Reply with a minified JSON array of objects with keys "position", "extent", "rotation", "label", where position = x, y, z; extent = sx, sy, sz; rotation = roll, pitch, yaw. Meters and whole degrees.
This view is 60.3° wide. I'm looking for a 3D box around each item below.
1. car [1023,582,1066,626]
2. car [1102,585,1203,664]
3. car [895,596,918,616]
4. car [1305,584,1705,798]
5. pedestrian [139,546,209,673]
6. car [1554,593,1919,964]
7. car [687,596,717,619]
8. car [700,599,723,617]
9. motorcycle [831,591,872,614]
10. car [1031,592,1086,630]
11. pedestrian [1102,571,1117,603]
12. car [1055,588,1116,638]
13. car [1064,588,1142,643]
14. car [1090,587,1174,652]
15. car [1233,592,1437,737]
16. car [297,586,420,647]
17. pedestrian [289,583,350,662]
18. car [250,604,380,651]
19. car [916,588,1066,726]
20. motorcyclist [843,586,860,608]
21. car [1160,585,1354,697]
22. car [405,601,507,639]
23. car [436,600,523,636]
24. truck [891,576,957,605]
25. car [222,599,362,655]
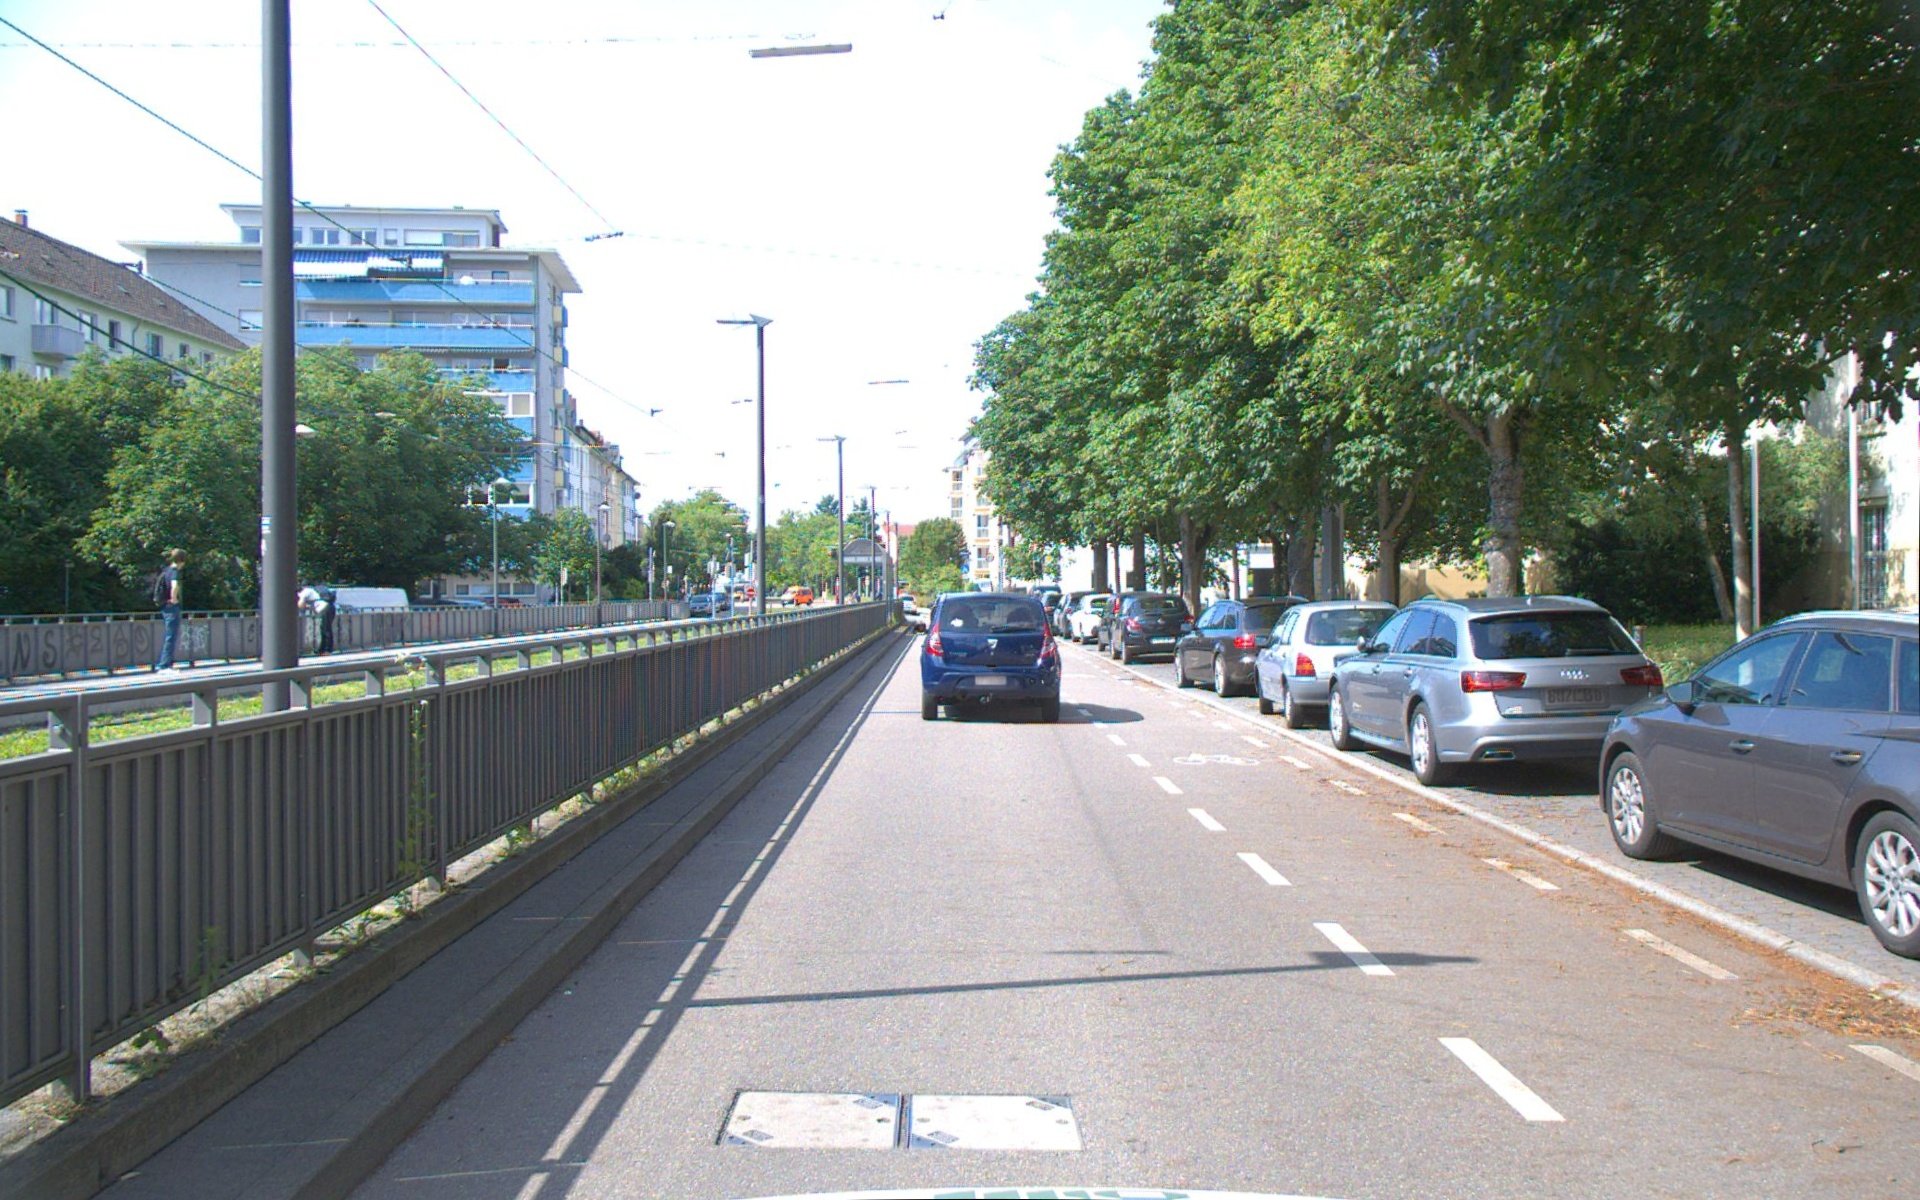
[{"position":[3.879,0.168,76.847],"extent":[1.785,1.929,4.184],"rotation":[-2,1,1],"label":"car"},{"position":[4.315,0.523,37.547],"extent":[1.656,1.588,4.307],"rotation":[-4,0,-1],"label":"car"},{"position":[-4.120,0.464,126.669],"extent":[1.590,1.491,3.507],"rotation":[1,0,-5],"label":"car"},{"position":[4.572,0.646,14.800],"extent":[1.792,1.466,5.049],"rotation":[-4,1,-1],"label":"car"},{"position":[-12.125,0.156,25.516],"extent":[0.735,1.925,0.639],"rotation":[0,-3,1],"label":"pedestrian"},{"position":[4.843,0.749,8.375],"extent":[1.792,1.424,4.655],"rotation":[-4,1,-2],"label":"car"},{"position":[-19.665,0.574,126.125],"extent":[1.954,1.674,3.996],"rotation":[1,0,-4],"label":"car"},{"position":[-21.301,0.668,142.035],"extent":[1.734,1.467,3.994],"rotation":[1,0,-6],"label":"car"},{"position":[-6.723,0.135,102.440],"extent":[2.463,1.362,1.015],"rotation":[-1,0,-10],"label":"motorcycle"},{"position":[4.221,0.430,71.494],"extent":[1.879,1.467,4.795],"rotation":[-3,1,-2],"label":"car"},{"position":[8.079,-0.688,89.600],"extent":[0.729,1.726,0.767],"rotation":[-1,0,0],"label":"pedestrian"},{"position":[4.297,0.420,57.081],"extent":[1.689,1.611,4.677],"rotation":[-2,0,0],"label":"car"},{"position":[4.407,0.460,51.483],"extent":[1.799,1.550,4.251],"rotation":[-3,0,-3],"label":"car"},{"position":[4.410,0.505,42.745],"extent":[1.525,1.486,3.556],"rotation":[-4,0,-3],"label":"car"},{"position":[4.411,0.695,20.007],"extent":[1.602,1.456,4.016],"rotation":[-3,1,2],"label":"car"},{"position":[-21.833,0.576,60.042],"extent":[3.901,2.106,2.027],"rotation":[-1,0,-32],"label":"car"},{"position":[-13.319,0.462,34.416],"extent":[0.969,1.606,0.798],"rotation":[-1,-1,-4],"label":"pedestrian"},{"position":[-22.227,0.934,57.020],"extent":[3.952,1.511,1.590],"rotation":[-1,0,-34],"label":"car"},{"position":[0.319,0.642,21.049],"extent":[1.708,1.533,3.999],"rotation":[1,1,-1],"label":"car"},{"position":[-6.720,-0.197,102.435],"extent":[0.965,1.362,0.939],"rotation":[-1,0,-10],"label":"motorcyclist"},{"position":[4.519,0.612,25.952],"extent":[1.795,1.492,4.827],"rotation":[-3,-1,-4],"label":"car"},{"position":[-21.824,0.849,71.649],"extent":[3.974,1.540,1.593],"rotation":[-1,0,-31],"label":"car"},{"position":[-22.283,0.811,76.727],"extent":[3.619,1.607,1.631],"rotation":[-1,0,-32],"label":"car"},{"position":[-4.657,-1.213,214.140],"extent":[8.203,3.241,2.599],"rotation":[-3,0,-9],"label":"truck"},{"position":[-21.926,0.848,54.329],"extent":[3.959,1.668,1.803],"rotation":[-1,2,-38],"label":"car"}]
